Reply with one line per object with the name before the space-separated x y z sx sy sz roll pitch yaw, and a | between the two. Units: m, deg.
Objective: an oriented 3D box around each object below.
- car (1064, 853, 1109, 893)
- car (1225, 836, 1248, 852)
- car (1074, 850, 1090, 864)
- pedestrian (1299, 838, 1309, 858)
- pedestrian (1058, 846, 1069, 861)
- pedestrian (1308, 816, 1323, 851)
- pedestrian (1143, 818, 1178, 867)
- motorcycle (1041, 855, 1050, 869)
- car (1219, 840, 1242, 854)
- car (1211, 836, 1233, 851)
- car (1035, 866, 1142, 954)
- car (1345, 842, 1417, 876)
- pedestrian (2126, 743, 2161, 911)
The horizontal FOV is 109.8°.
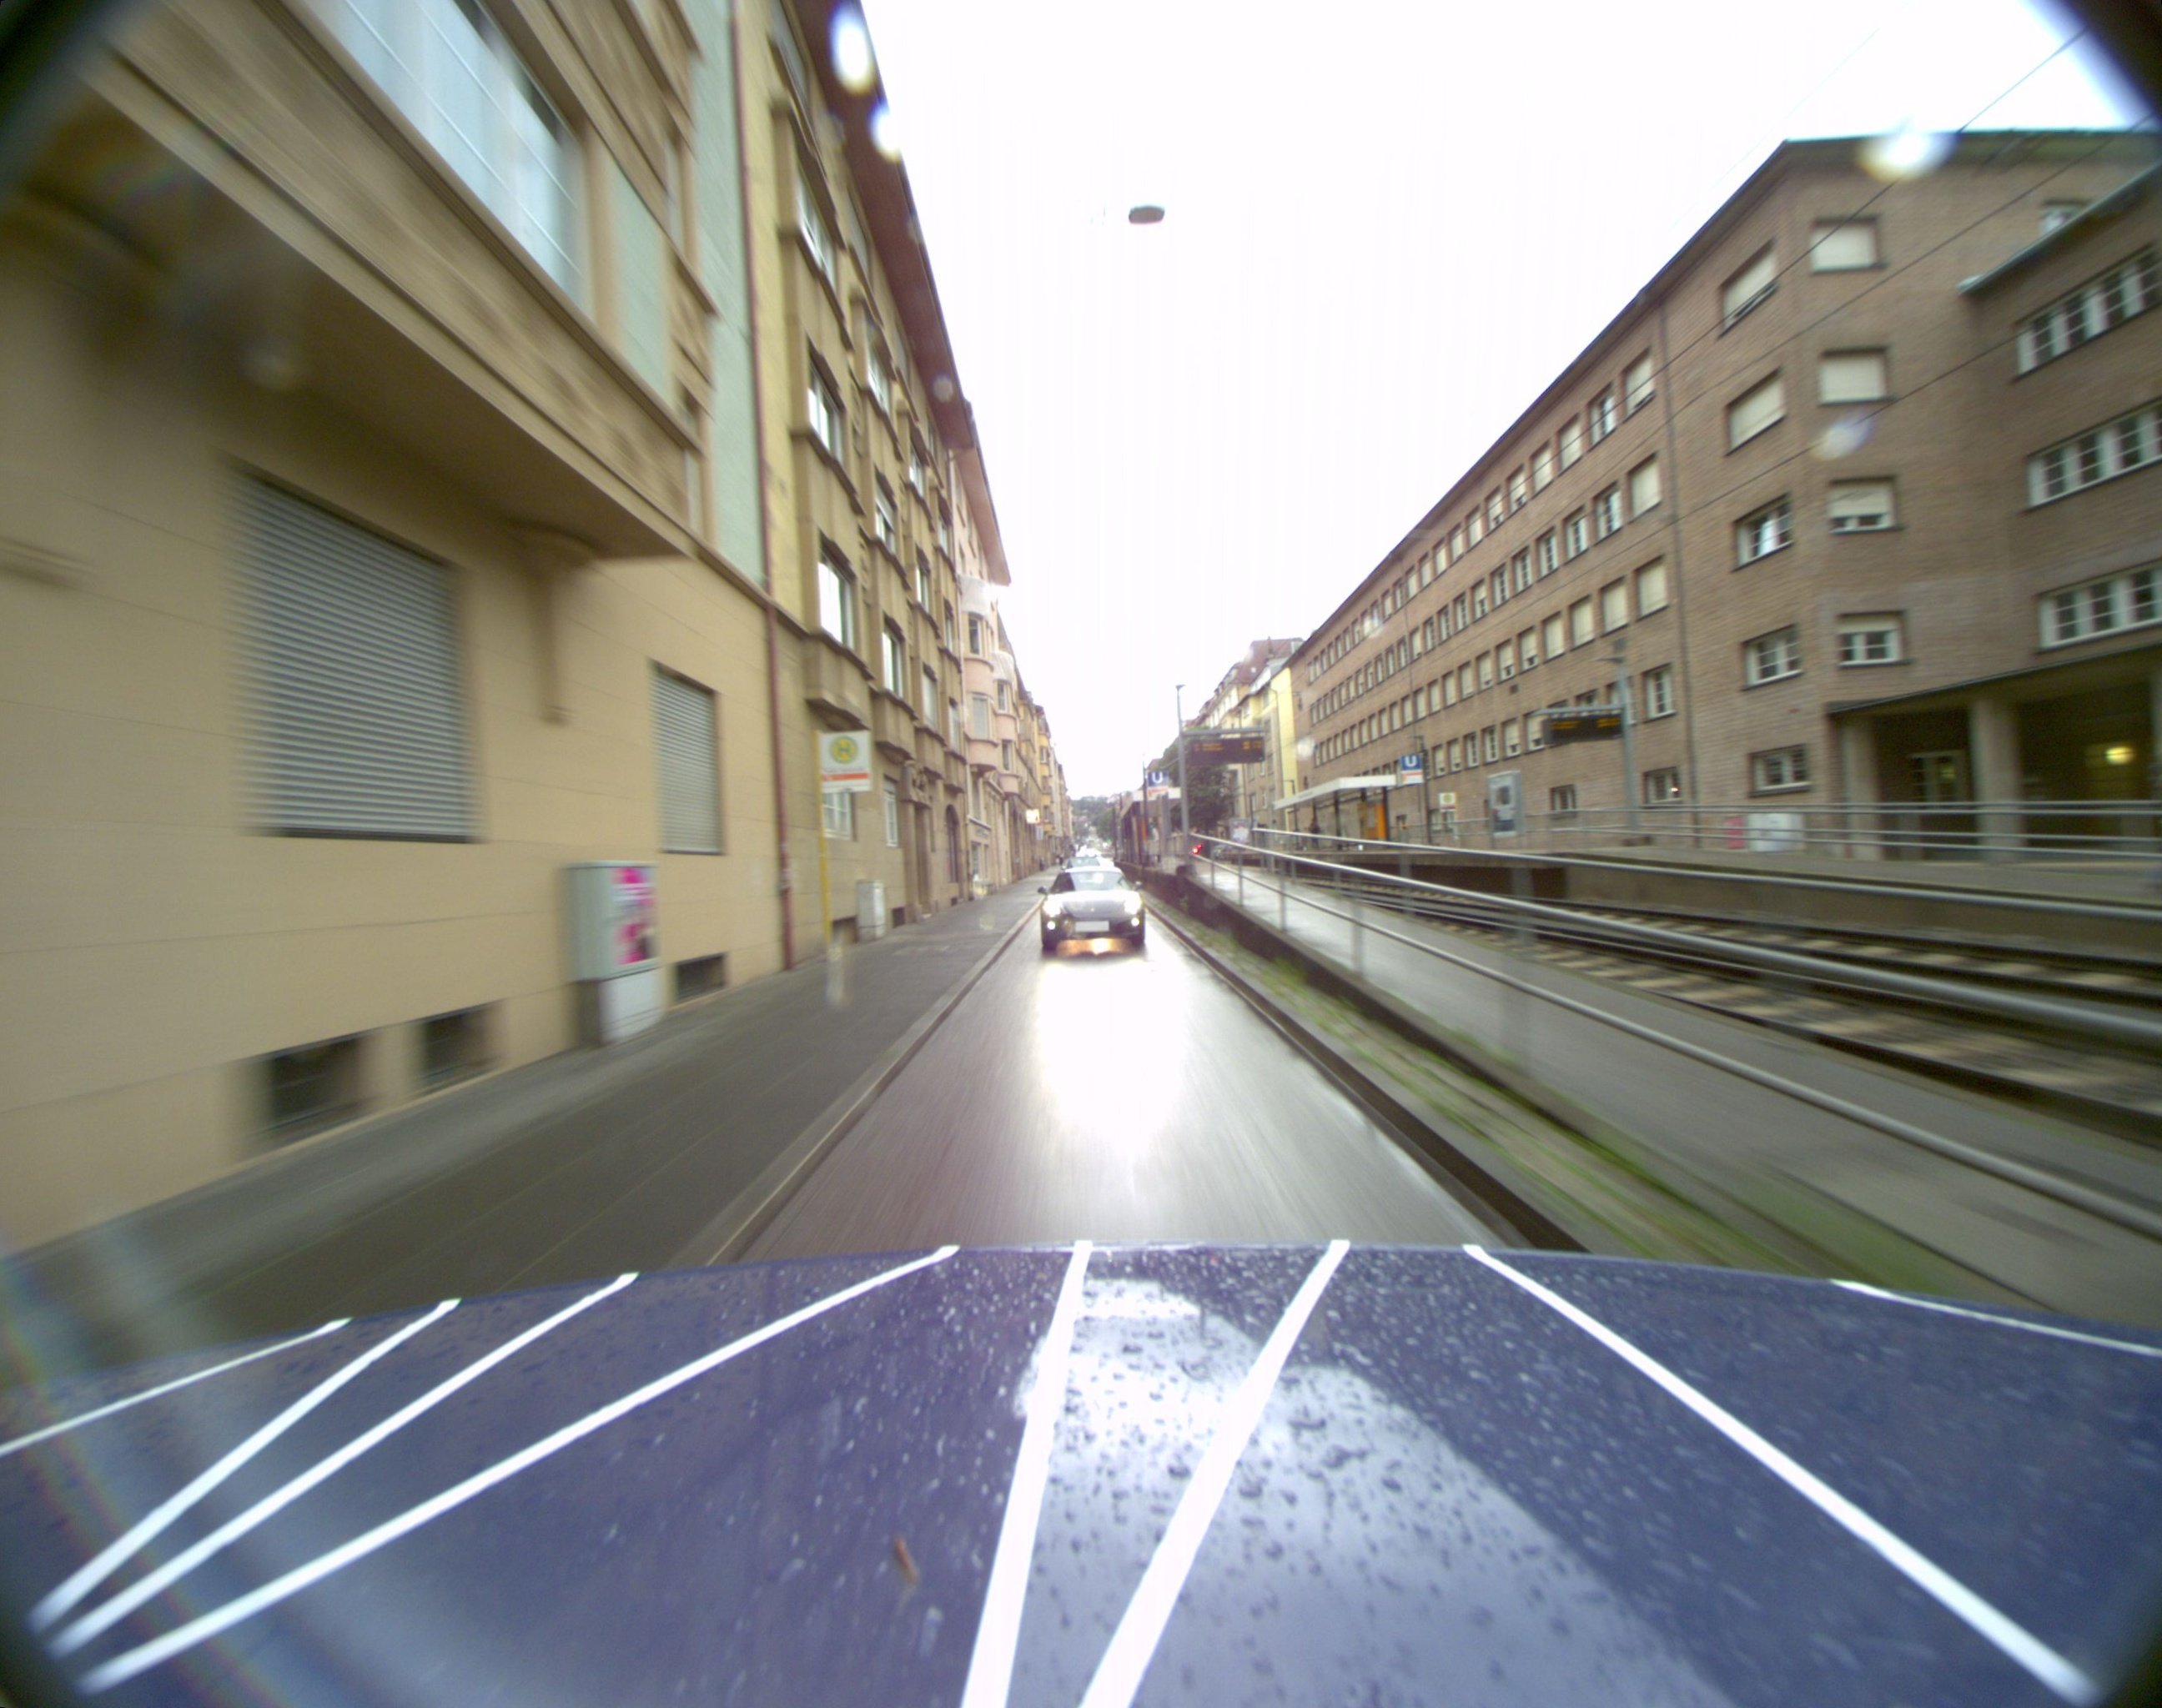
car | 0.254 0.736 30.734 1.689 1.451 3.299 -2 1 1
car | 15.373 -0.949 75.120 1.648 1.458 3.111 -3 0 2
car | 0.136 0.318 87.758 1.633 1.443 4.000 -3 0 2
pedestrian | 18.383 -0.490 62.642 0.550 1.644 0.542 -3 1 2
pedestrian | -2.019 -0.040 90.232 1.125 1.703 1.102 -4 1 3
pedestrian | 11.876 -1.035 38.497 0.588 1.699 0.491 -2 1 0
pedestrian | 3.016 -0.431 28.966 1.116 1.764 1.111 -4 1 0
motorcycle | -3.227 0.694 69.874 0.692 1.230 1.779 2 1 1
car | 15.467 -0.732 78.729 1.648 1.395 3.633 -3 0 2
car | 15.446 -1.150 83.344 1.648 1.571 4.339 -3 0 2
car | 0.201 0.965 14.702 1.704 1.280 4.195 -3 0 2
car | 14.663 0.236 37.457 1.648 1.488 4.763 -3 0 1
pedestrian | 11.231 -0.288 7.579 0.666 1.689 0.688 -5 4 -2
